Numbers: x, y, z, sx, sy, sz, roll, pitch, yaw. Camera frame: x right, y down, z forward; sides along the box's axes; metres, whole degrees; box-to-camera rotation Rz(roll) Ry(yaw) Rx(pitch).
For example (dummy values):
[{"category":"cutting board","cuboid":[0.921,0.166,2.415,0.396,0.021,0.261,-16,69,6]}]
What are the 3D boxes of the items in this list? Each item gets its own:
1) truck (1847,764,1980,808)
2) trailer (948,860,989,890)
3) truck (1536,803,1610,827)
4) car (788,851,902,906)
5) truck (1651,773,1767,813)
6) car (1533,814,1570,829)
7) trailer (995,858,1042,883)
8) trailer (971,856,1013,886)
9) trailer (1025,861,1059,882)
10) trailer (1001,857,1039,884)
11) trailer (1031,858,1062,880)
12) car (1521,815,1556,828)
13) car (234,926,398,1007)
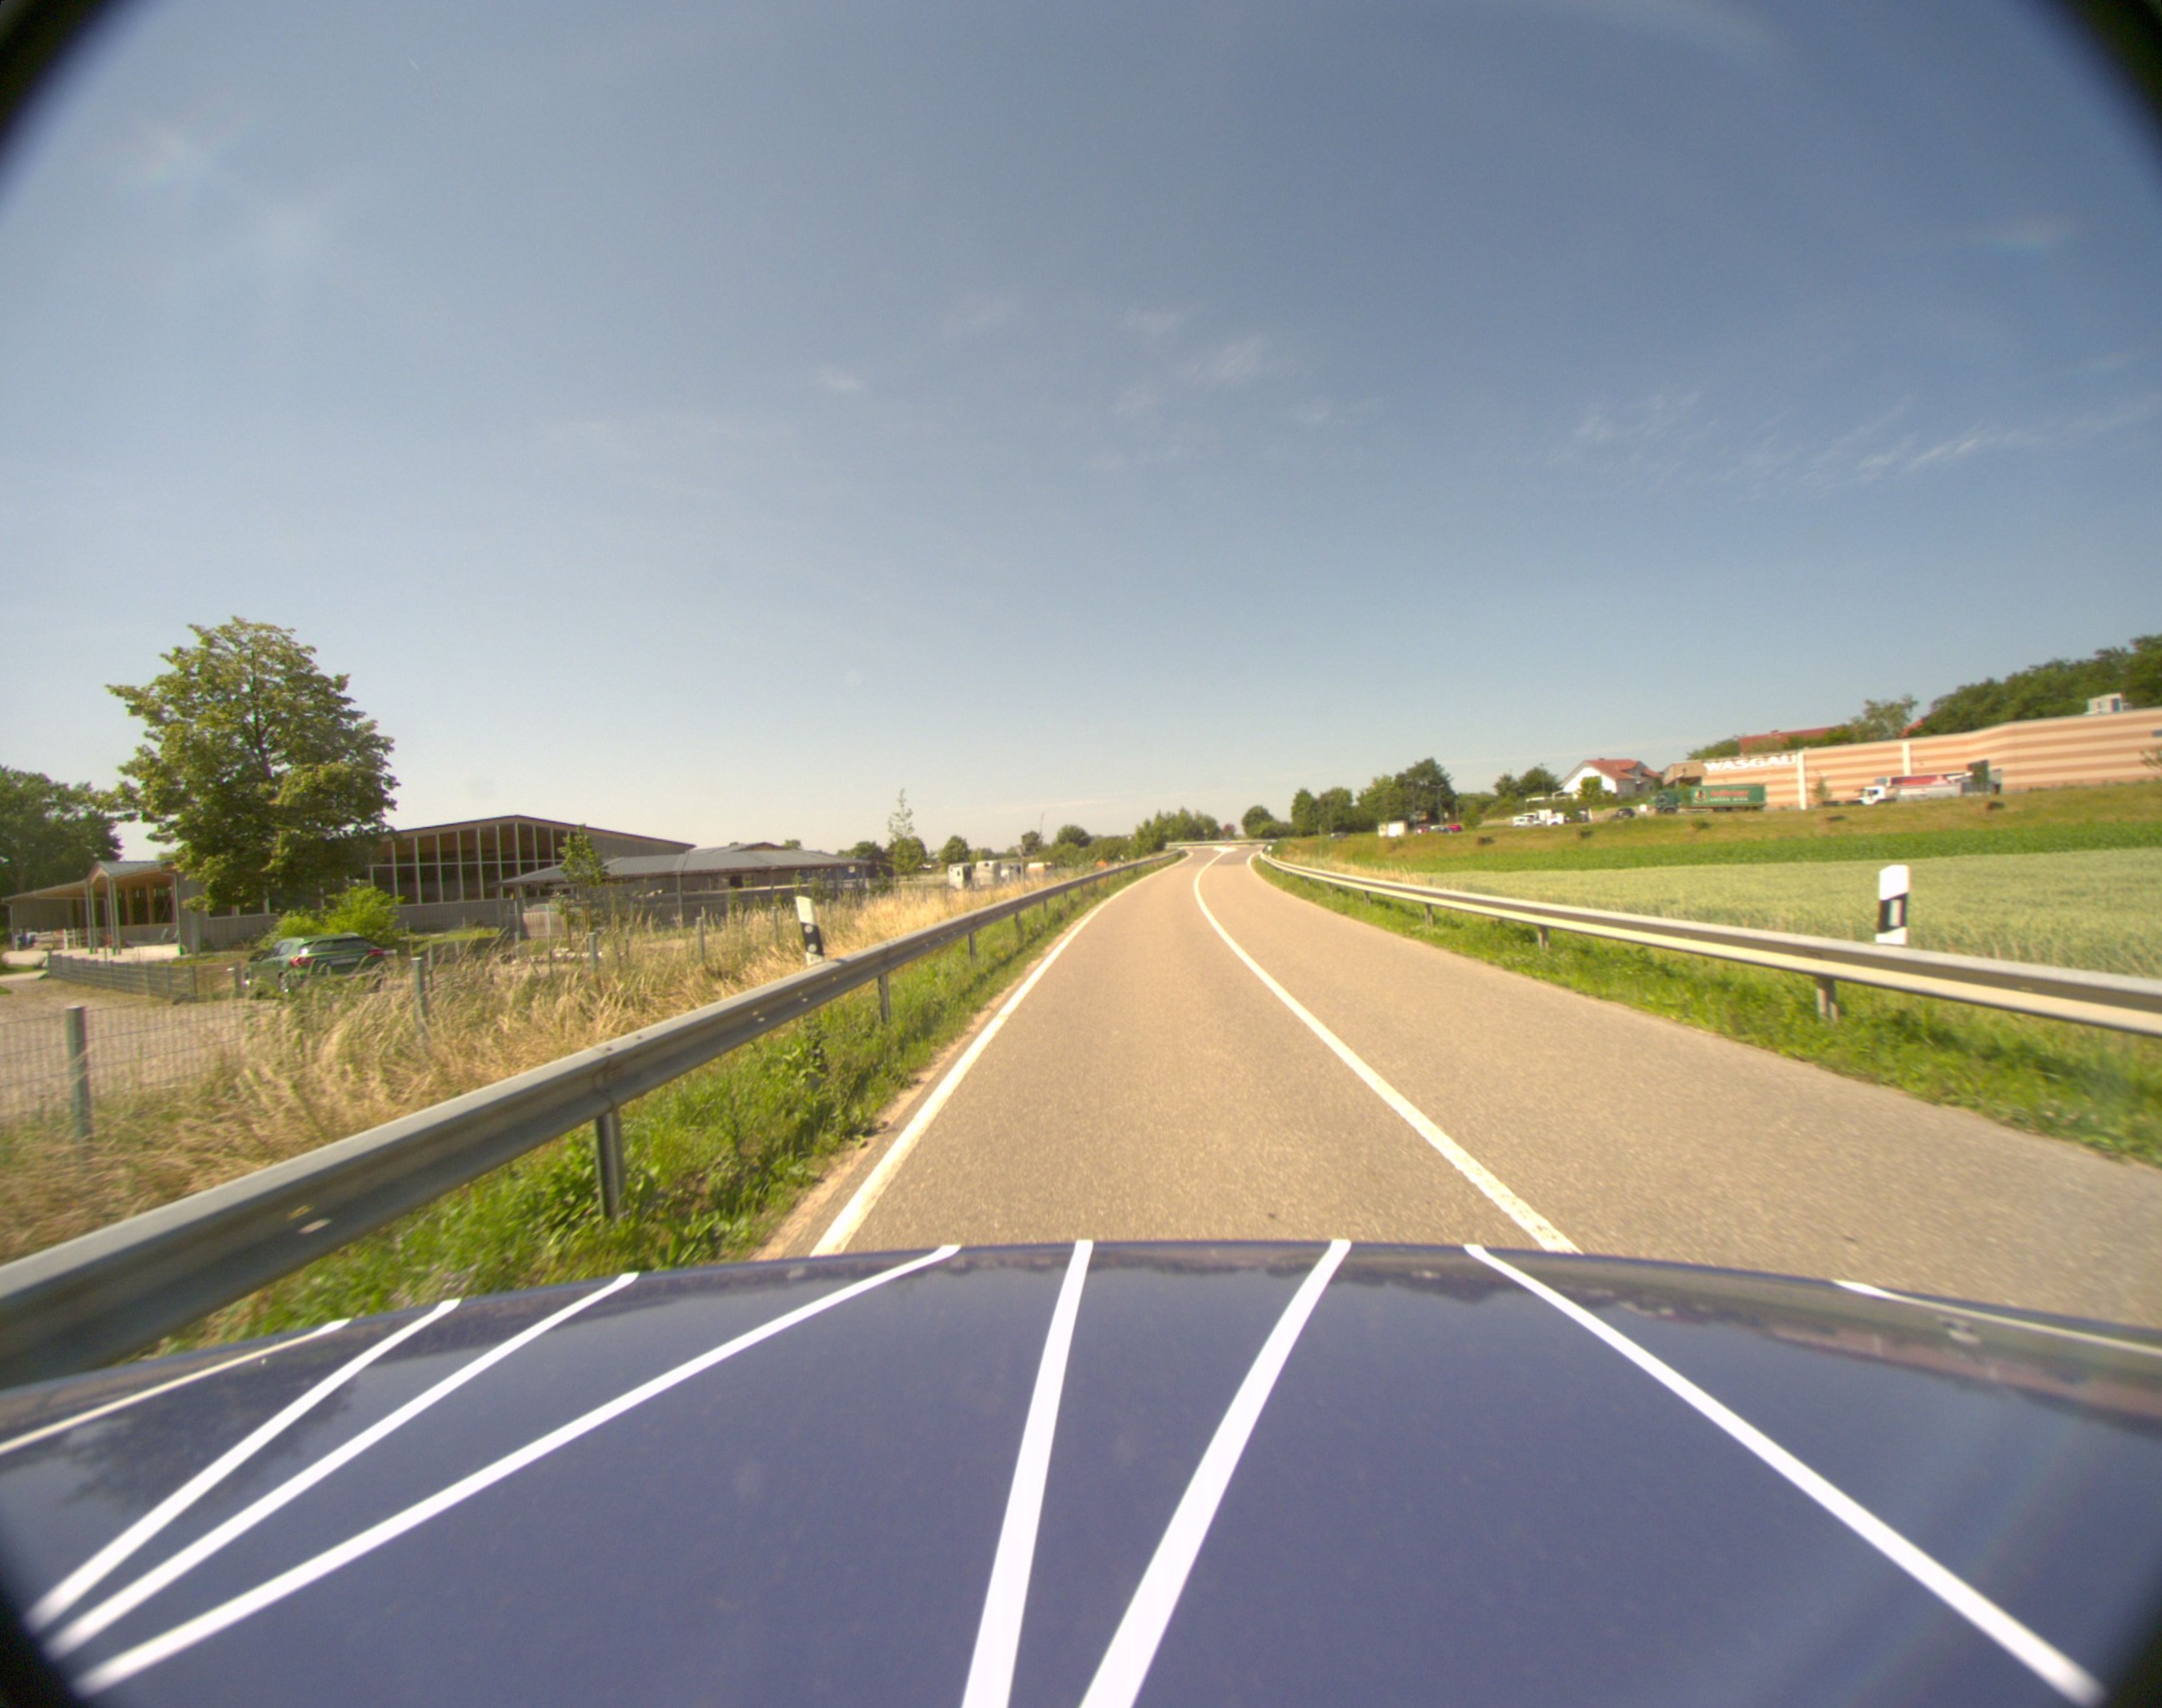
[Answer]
[{"category":"truck","cuboid":[86.392,-7.017,79.169,8.860,3.544,2.883,-4,2,36]},{"category":"trailer","cuboid":[-10.818,1.948,72.818,2.178,2.655,4.470,-3,2,-31]},{"category":"truck","cuboid":[87.387,-6.896,135.227,10.699,3.173,2.449,-5,2,20]},{"category":"car","cuboid":[-18.149,1.886,58.129,8.975,3.631,2.784,-4,0,31]},{"category":"truck","cuboid":[70.850,-6.845,86.035,9.916,3.458,2.883,-4,2,39]},{"category":"car","cuboid":[66.099,-4.597,106.780,4.322,1.694,2.003,-4,2,34]},{"category":"trailer","cuboid":[-7.467,2.005,90.308,5.175,2.672,2.213,-4,0,34]},{"category":"trailer","cuboid":[-9.030,1.716,76.801,2.238,2.847,5.033,-3,0,-31]},{"category":"trailer","cuboid":[-5.242,2.318,101.636,4.084,2.376,2.010,-6,-1,41]},{"category":"trailer","cuboid":[-6.429,1.751,79.065,1.829,2.613,4.542,0,-2,-35]},{"category":"trailer","cuboid":[-4.794,2.054,105.099,3.412,2.789,2.168,-4,1,31]},{"category":"car","cuboid":[69.036,-4.919,114.664,4.322,1.589,2.003,-4,2,33]},{"category":"car","cuboid":[-19.442,2.810,19.278,4.363,1.571,1.936,-5,1,33]}]
